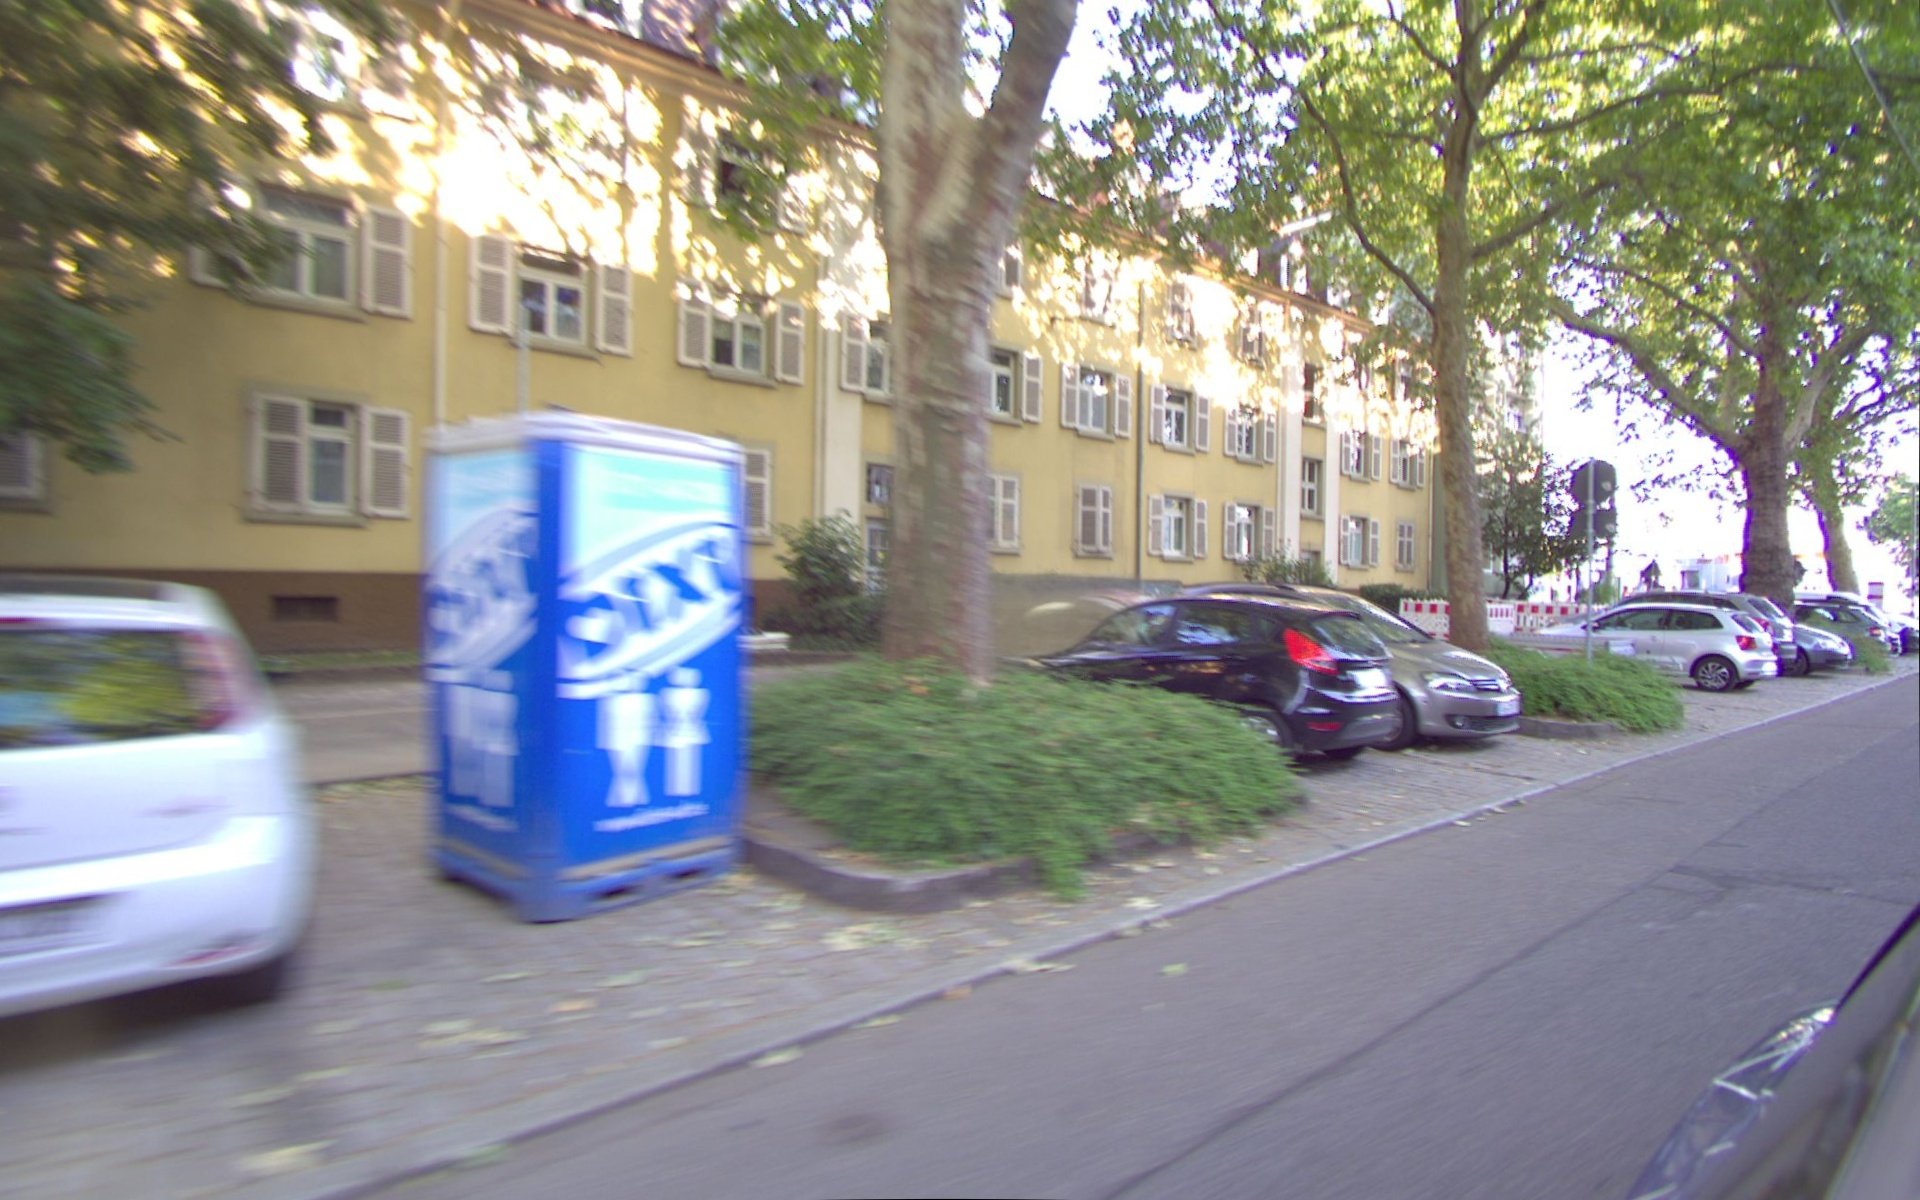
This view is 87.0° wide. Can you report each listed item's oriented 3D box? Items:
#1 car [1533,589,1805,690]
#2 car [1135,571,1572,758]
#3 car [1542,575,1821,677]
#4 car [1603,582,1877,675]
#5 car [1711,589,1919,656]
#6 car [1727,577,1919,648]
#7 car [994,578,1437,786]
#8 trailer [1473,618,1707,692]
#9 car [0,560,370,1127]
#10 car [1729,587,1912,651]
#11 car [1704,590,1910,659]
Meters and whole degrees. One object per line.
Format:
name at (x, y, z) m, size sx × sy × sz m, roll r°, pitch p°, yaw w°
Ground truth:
car at (12.855, 0.633, 18.504) m, size 1.832 × 1.441 × 3.662 m, roll 1°, pitch 3°, yaw -39°
car at (4.098, 0.523, 11.094) m, size 1.798 × 1.568 × 4.085 m, roll 0°, pitch 3°, yaw -41°
car at (14.818, 0.448, 21.021) m, size 1.806 × 1.753 × 4.323 m, roll 1°, pitch 2°, yaw -36°
car at (16.891, 0.523, 22.092) m, size 1.875 × 1.678 × 4.433 m, roll 0°, pitch 3°, yaw -41°
car at (23.805, 0.571, 28.117) m, size 1.785 × 1.542 × 4.410 m, roll 1°, pitch 2°, yaw -40°
car at (27.381, 0.323, 31.635) m, size 1.881 × 1.878 × 5.124 m, roll -1°, pitch 3°, yaw -40°
car at (2.222, 0.583, 9.463) m, size 1.708 × 1.444 × 3.657 m, roll 0°, pitch 2°, yaw -43°
trailer at (10.608, 0.872, 17.198) m, size 1.408 × 0.914 × 3.053 m, roll 0°, pitch 3°, yaw -34°
car at (-3.815, 0.596, 4.205) m, size 1.829 × 1.508 × 3.916 m, roll 0°, pitch 1°, yaw -38°
car at (25.445, 0.507, 30.010) m, size 1.764 × 1.625 × 3.882 m, roll 1°, pitch 2°, yaw -41°
car at (21.850, 0.573, 26.201) m, size 1.712 × 1.516 × 3.886 m, roll 0°, pitch 2°, yaw -43°
